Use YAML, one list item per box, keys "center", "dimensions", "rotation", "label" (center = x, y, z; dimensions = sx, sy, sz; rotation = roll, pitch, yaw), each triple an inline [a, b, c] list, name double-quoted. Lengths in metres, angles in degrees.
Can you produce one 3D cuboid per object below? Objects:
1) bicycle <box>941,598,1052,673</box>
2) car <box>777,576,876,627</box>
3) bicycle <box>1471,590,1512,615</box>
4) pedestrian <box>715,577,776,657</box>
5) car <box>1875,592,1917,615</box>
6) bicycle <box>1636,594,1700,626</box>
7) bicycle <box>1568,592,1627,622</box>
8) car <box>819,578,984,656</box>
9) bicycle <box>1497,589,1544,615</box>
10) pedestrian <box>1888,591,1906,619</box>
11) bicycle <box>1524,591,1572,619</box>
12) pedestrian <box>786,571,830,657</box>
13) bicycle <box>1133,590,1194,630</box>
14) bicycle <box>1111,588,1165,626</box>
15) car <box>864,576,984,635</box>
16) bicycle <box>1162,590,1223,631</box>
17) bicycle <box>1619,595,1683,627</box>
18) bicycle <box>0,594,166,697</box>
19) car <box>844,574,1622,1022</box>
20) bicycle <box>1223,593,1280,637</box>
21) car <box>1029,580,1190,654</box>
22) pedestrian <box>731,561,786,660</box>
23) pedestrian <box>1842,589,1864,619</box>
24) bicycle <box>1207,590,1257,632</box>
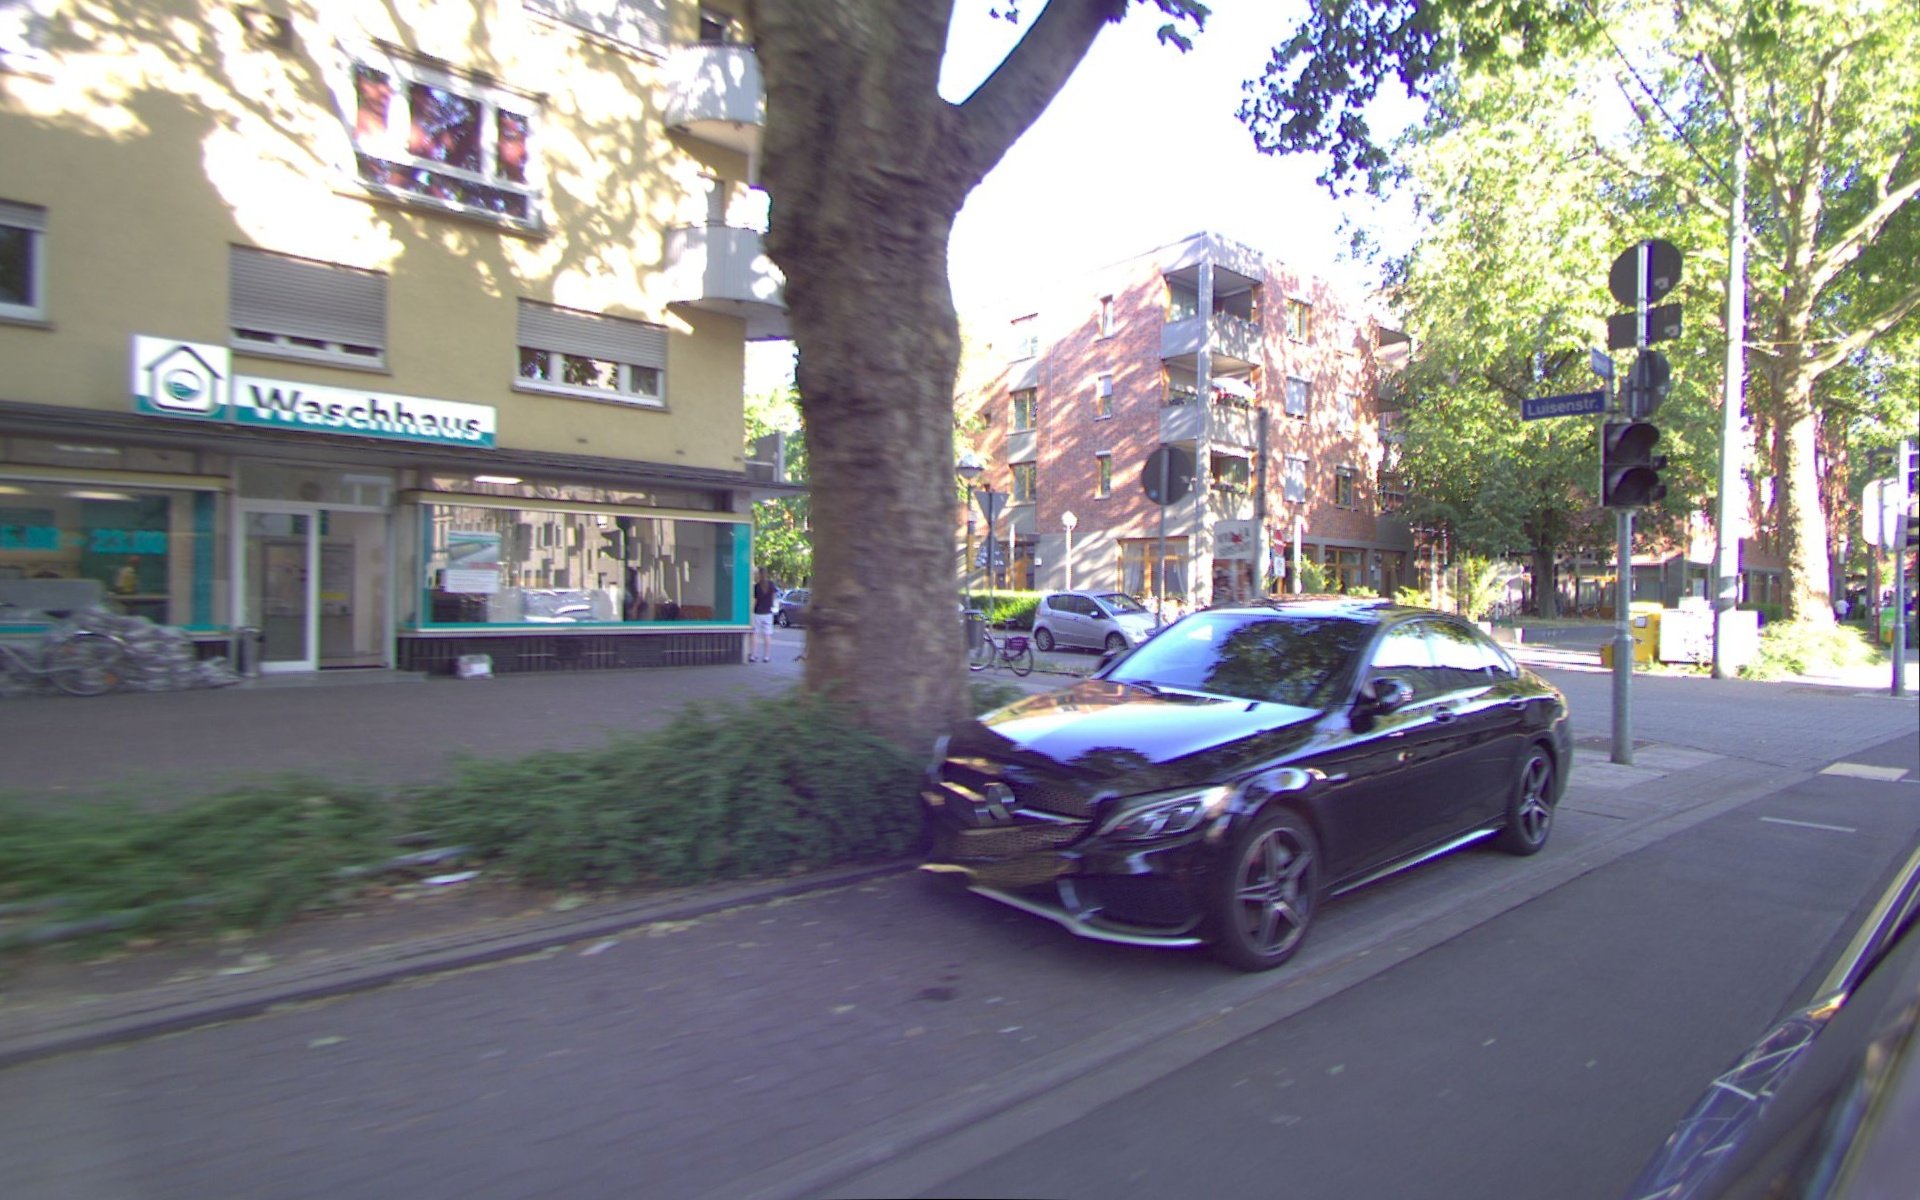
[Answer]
- center: [0.637, 0.590, 17.752]
  dimensions: [1.782, 1.171, 0.738]
  rotation: [3, 2, 30]
  label: "bicycle"
- center: [-4.908, 0.007, 36.950]
  dimensions: [1.832, 1.714, 3.871]
  rotation: [0, 1, -39]
  label: "car"
- center: [25.403, 0.110, 48.355]
  dimensions: [1.997, 1.171, 0.709]
  rotation: [0, 2, -30]
  label: "bicycle"
- center: [-4.000, 0.304, 18.871]
  dimensions: [0.839, 1.432, 0.757]
  rotation: [1, 1, 42]
  label: "pedestrian"
- center: [66.732, 0.232, 72.150]
  dimensions: [3.890, 1.527, 1.657]
  rotation: [0, 1, -39]
  label: "car"
- center: [28.719, 0.404, 41.096]
  dimensions: [0.560, 1.171, 2.041]
  rotation: [1, 2, -29]
  label: "bicycle"
- center: [27.091, 0.294, 43.031]
  dimensions: [0.561, 1.171, 2.039]
  rotation: [1, 2, -33]
  label: "bicycle"
- center: [-1.423, 0.355, 23.285]
  dimensions: [1.832, 1.572, 3.871]
  rotation: [4, -1, -39]
  label: "car"
- center: [27.681, 0.105, 50.003]
  dimensions: [1.931, 1.171, 0.727]
  rotation: [3, 2, 26]
  label: "bicycle"
- center: [58.242, 0.317, 62.924]
  dimensions: [0.735, 1.712, 0.710]
  rotation: [0, 1, -41]
  label: "pedestrian"
- center: [25.900, 0.212, 44.598]
  dimensions: [0.561, 1.171, 1.684]
  rotation: [1, 2, -33]
  label: "bicycle"
- center: [-2.799, 0.249, 18.728]
  dimensions: [0.677, 1.558, 0.703]
  rotation: [1, 1, 2]
  label: "pedestrian"
- center: [6.339, 0.304, 31.456]
  dimensions: [2.014, 1.171, 0.732]
  rotation: [0, 2, -40]
  label: "bicycle"
- center: [5.650, 0.211, 32.114]
  dimensions: [1.818, 1.171, 0.662]
  rotation: [0, 2, -40]
  label: "bicycle"
- center: [-1.197, 0.118, 31.989]
  dimensions: [1.832, 1.714, 3.871]
  rotation: [0, 1, -39]
  label: "car"
- center: [6.970, 0.303, 30.297]
  dimensions: [1.945, 1.171, 0.638]
  rotation: [0, 2, -37]
  label: "bicycle"
- center: [27.849, 0.426, 40.804]
  dimensions: [0.562, 1.171, 2.037]
  rotation: [0, 3, -38]
  label: "bicycle"
- center: [-9.551, 0.461, 10.711]
  dimensions: [1.751, 1.009, 0.571]
  rotation: [0, 3, -44]
  label: "bicycle"
- center: [1.893, 0.637, 5.653]
  dimensions: [4.925, 1.480, 1.767]
  rotation: [0, 1, -41]
  label: "car"
- center: [8.138, 0.418, 28.215]
  dimensions: [1.666, 1.171, 0.602]
  rotation: [0, 2, -37]
  label: "bicycle"
- center: [3.780, 0.365, 26.033]
  dimensions: [1.832, 1.714, 3.871]
  rotation: [0, 1, -39]
  label: "car"
- center: [-3.576, 0.170, 17.963]
  dimensions: [0.695, 1.703, 0.656]
  rotation: [1, 1, 24]
  label: "pedestrian"
- center: [51.946, 0.225, 58.871]
  dimensions: [0.900, 1.680, 0.768]
  rotation: [0, 1, -39]
  label: "pedestrian"
- center: [7.926, 0.304, 29.469]
  dimensions: [1.670, 1.171, 0.600]
  rotation: [0, 3, -44]
  label: "bicycle"
